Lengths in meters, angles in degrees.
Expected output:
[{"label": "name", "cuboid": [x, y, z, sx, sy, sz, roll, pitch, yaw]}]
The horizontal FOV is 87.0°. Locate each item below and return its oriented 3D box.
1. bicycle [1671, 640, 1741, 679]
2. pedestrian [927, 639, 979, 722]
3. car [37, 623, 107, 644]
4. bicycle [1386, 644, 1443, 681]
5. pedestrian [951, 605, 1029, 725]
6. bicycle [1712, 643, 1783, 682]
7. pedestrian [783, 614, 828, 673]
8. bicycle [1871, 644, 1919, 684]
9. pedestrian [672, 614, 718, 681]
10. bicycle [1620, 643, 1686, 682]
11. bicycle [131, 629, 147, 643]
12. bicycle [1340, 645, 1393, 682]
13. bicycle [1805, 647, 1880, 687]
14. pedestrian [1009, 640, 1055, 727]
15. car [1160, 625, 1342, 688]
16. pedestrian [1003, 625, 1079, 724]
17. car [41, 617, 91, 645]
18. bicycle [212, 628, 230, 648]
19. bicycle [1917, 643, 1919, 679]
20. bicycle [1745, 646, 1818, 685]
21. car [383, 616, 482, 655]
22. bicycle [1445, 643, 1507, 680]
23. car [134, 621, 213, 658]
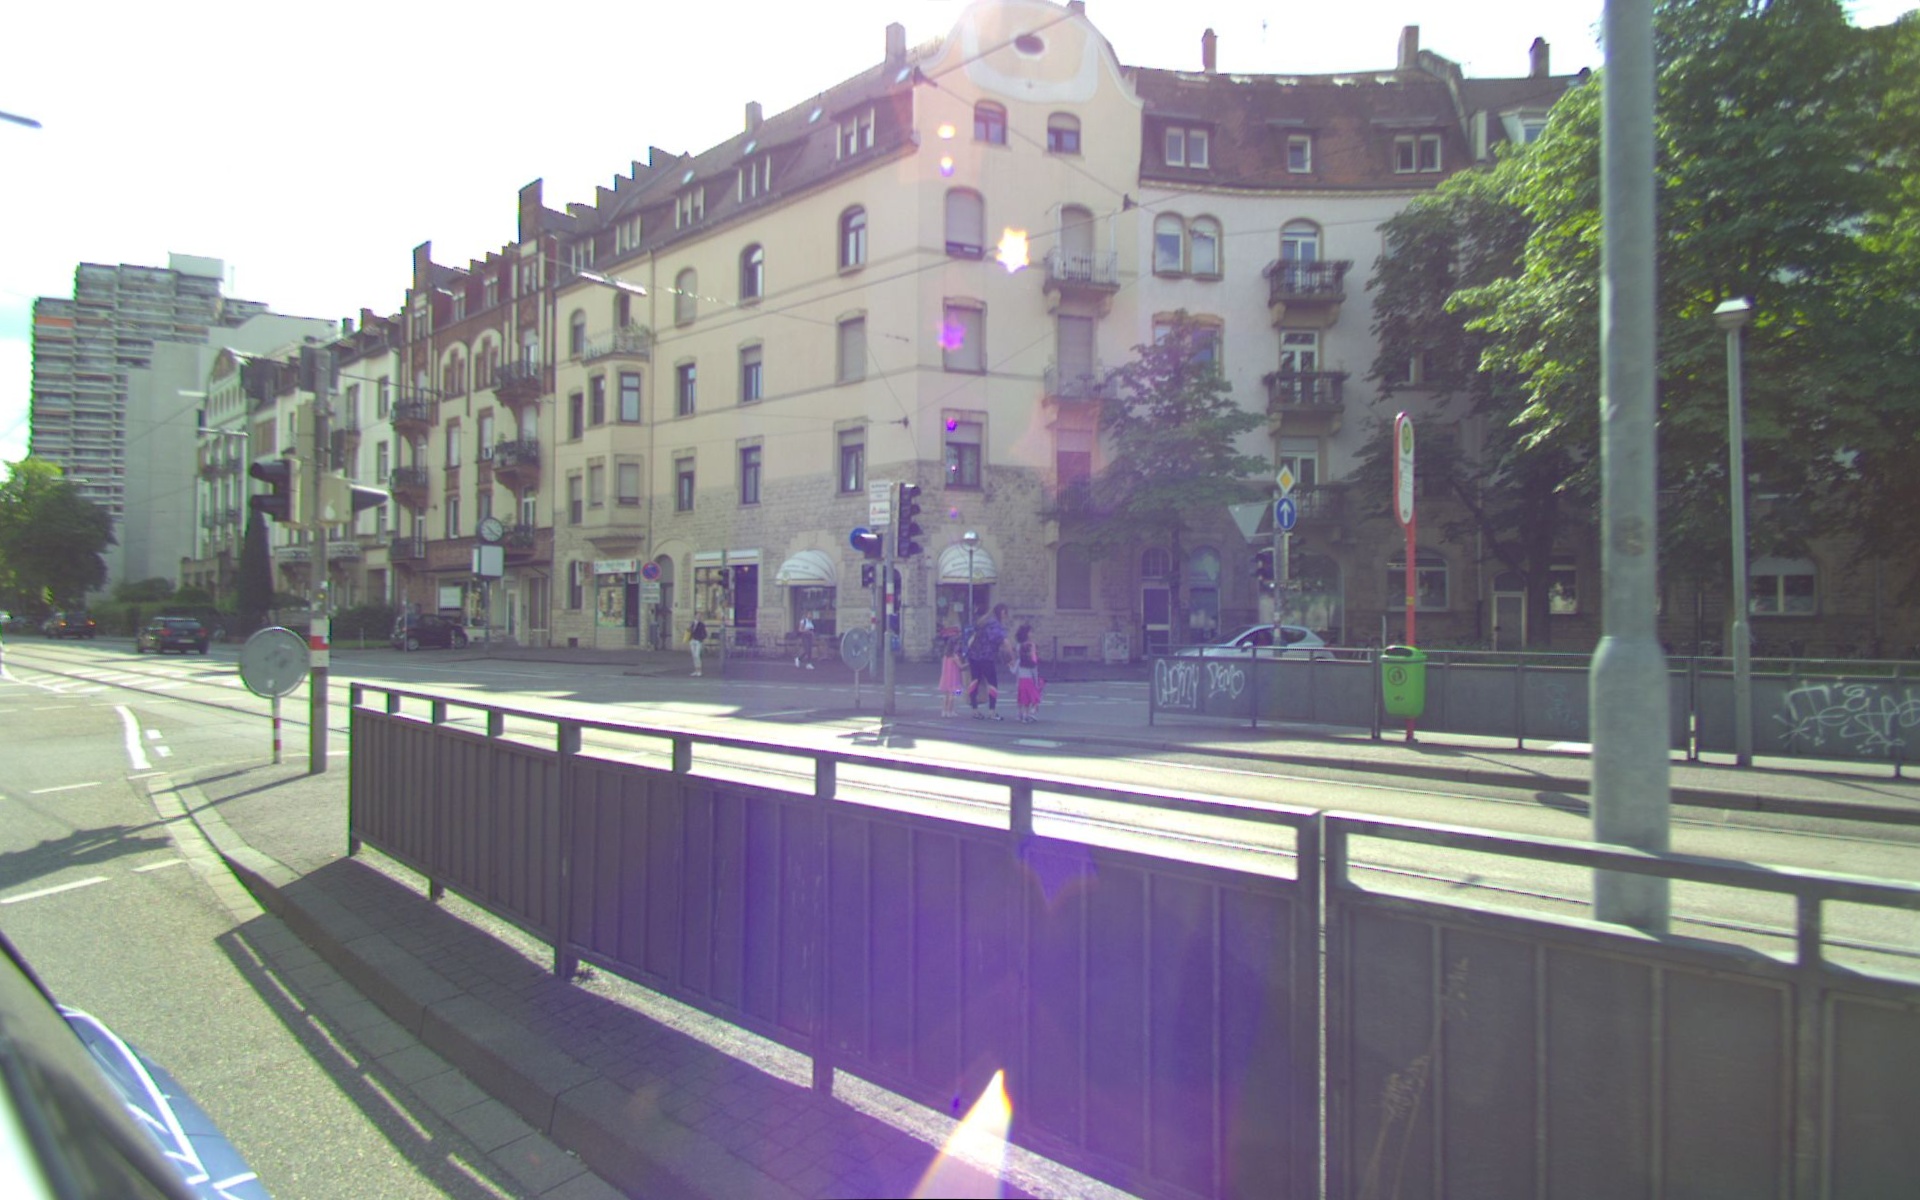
[{"label": "bicycle", "cuboid": [19.787, 1.568, 26.892, 0.565, 0.905, 2.027, 0, 0, 7]}, {"label": "pedestrian", "cuboid": [-0.094, 1.108, 14.213, 0.443, 1.122, 0.635, -1, -2, 35]}, {"label": "car", "cuboid": [-68.371, 2.588, 77.955, 1.634, 1.547, 3.838, -1, -2, 42]}, {"label": "bicycle", "cuboid": [12.306, 1.684, 27.481, 0.504, 0.889, 2.033, 0, 0, -4]}, {"label": "pedestrian", "cuboid": [0.414, 0.871, 13.864, 0.797, 1.577, 0.721, -1, -2, 36]}, {"label": "bicycle", "cuboid": [20.737, 1.633, 26.699, 0.565, 0.905, 2.025, 0, 0, 9]}, {"label": "pedestrian", "cuboid": [-4.271, 1.200, 27.977, 0.963, 1.553, 0.686, -1, 2, 41]}, {"label": "bicycle", "cuboid": [24.120, 1.620, 25.660, 0.566, 0.905, 2.023, 0, 0, 12]}, {"label": "pedestrian", "cuboid": [-7.117, 1.251, 27.182, 0.873, 1.717, 0.749, -1, 2, 40]}, {"label": "bicycle", "cuboid": [18.567, 1.658, 27.169, 0.540, 0.905, 2.027, 0, 0, 6]}, {"label": "bicycle", "cuboid": [-51.074, 2.244, 62.951, 1.874, 0.803, 0.579, 0, 1, 45]}, {"label": "bicycle", "cuboid": [10.977, 1.703, 27.388, 0.504, 0.889, 2.033, 0, 0, -4]}, {"label": "bicycle", "cuboid": [22.824, 1.706, 26.224, 0.566, 0.905, 2.023, 0, 0, 12]}, {"label": "pedestrian", "cuboid": [0.960, 1.104, 13.473, 0.422, 1.116, 0.433, -1, -4, 36]}, {"label": "car", "cuboid": [6.917, 1.337, 24.282, 3.813, 1.431, 1.723, 0, -2, -6]}, {"label": "pedestrian", "cuboid": [1.133, 1.023, 14.090, 0.716, 1.314, 0.818, -1, -4, 36]}, {"label": "car", "cuboid": [-57.920, 1.997, 65.564, 4.327, 1.724, 1.773, -1, -2, 40]}, {"label": "bicycle", "cuboid": [-38.453, 1.976, 52.656, 0.517, 0.913, 2.069, 1, 0, -42]}, {"label": "bicycle", "cuboid": [24.908, 1.576, 25.210, 0.566, 0.905, 2.023, 0, 0, 12]}, {"label": "bicycle", "cuboid": [21.520, 1.693, 26.558, 0.565, 0.905, 2.025, 0, 0, 9]}, {"label": "car", "cuboid": [-22.719, 1.504, 43.649, 1.706, 1.497, 3.408, -1, 0, 41]}, {"label": "bicycle", "cuboid": [13.999, 1.647, 27.505, 0.538, 0.889, 2.033, 0, 0, -4]}, {"label": "car", "cuboid": [-31.040, 1.565, 39.915, 3.431, 1.398, 1.609, -1, -3, 38]}]
